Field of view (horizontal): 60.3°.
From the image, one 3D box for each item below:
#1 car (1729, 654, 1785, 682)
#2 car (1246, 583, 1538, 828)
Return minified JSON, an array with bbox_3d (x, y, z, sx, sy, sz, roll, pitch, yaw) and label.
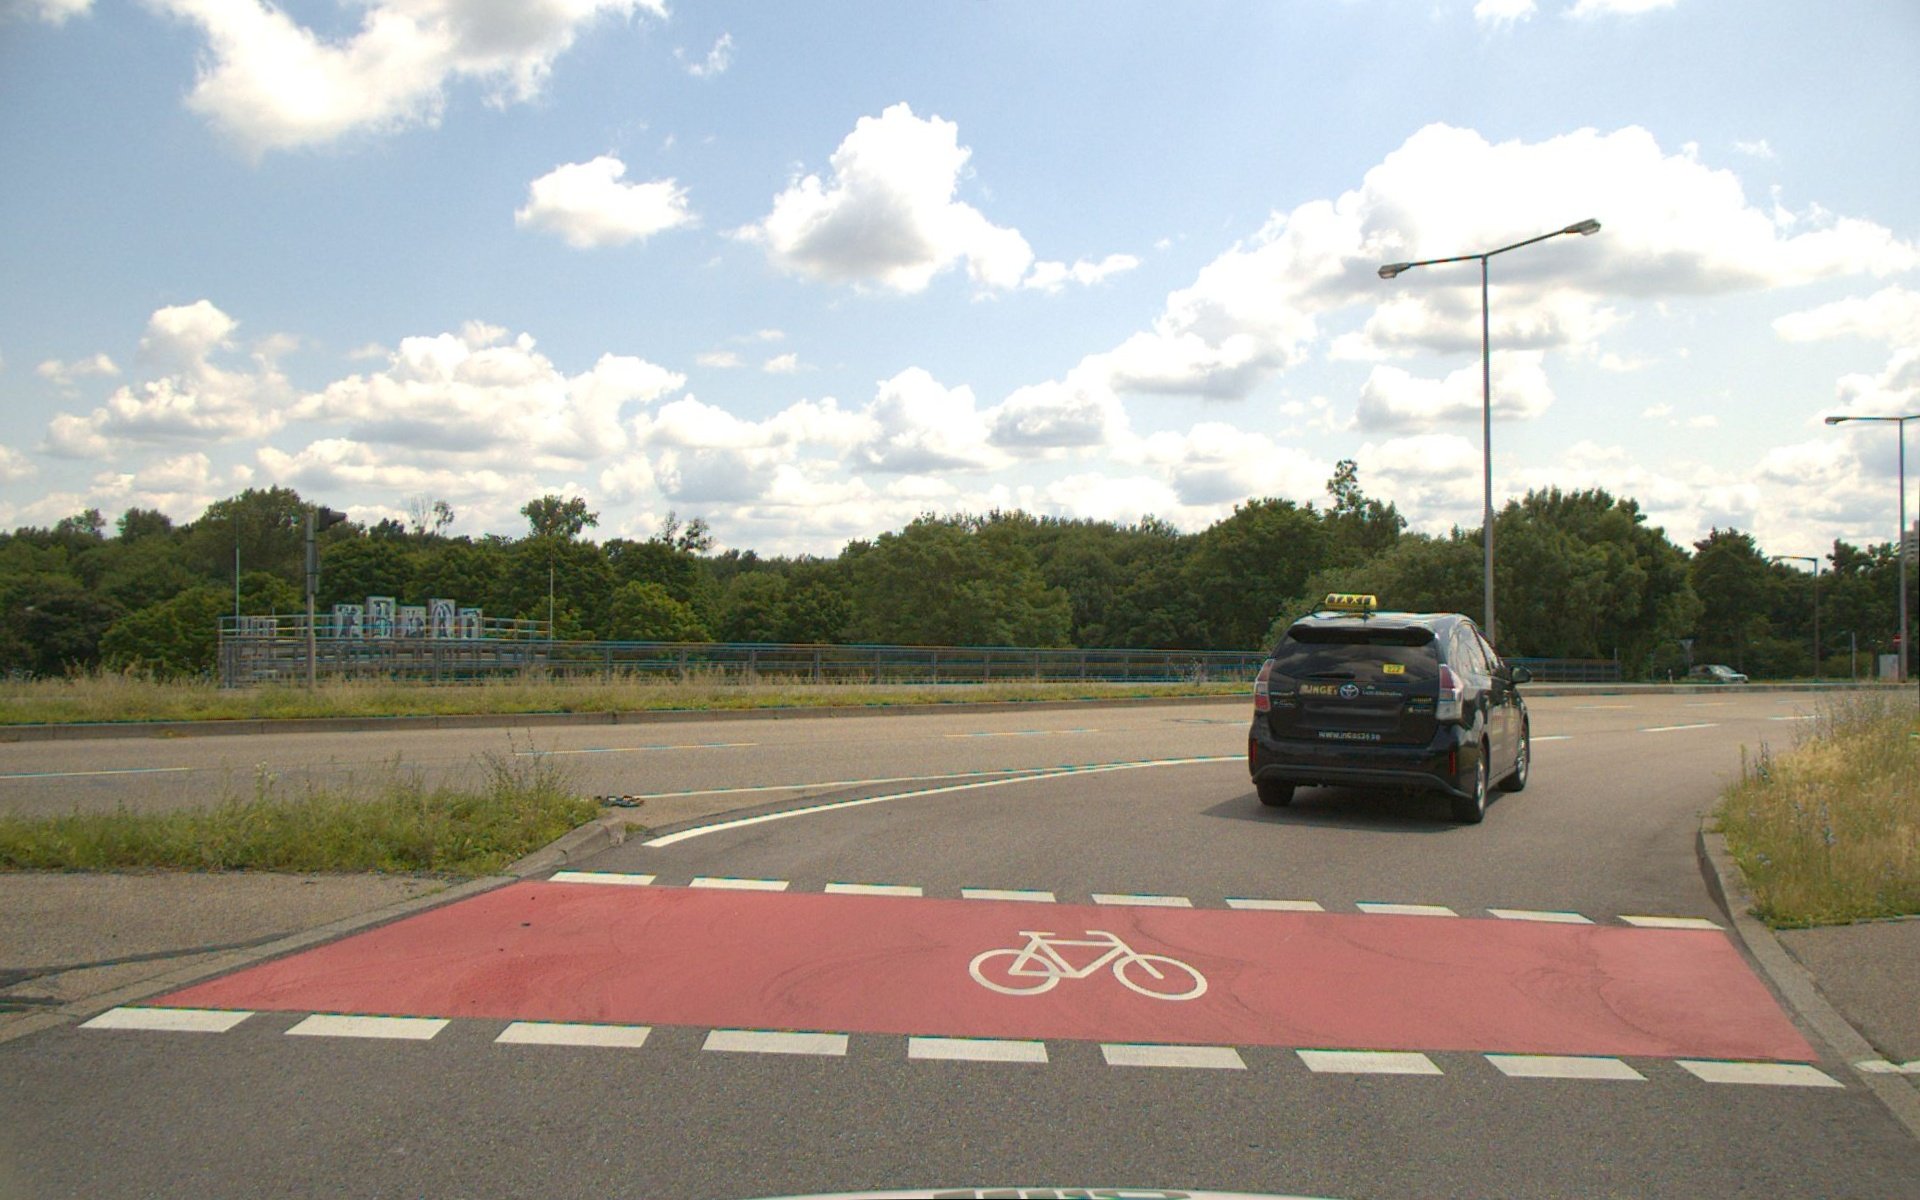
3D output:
[{"bbox_3d":[50.904,4.322,105.594,2.058,1.655,4.522,1,0,42],"label":"car"},{"bbox_3d":[3.764,0.766,13.904,1.744,1.713,3.998,1,0,24],"label":"car"}]
